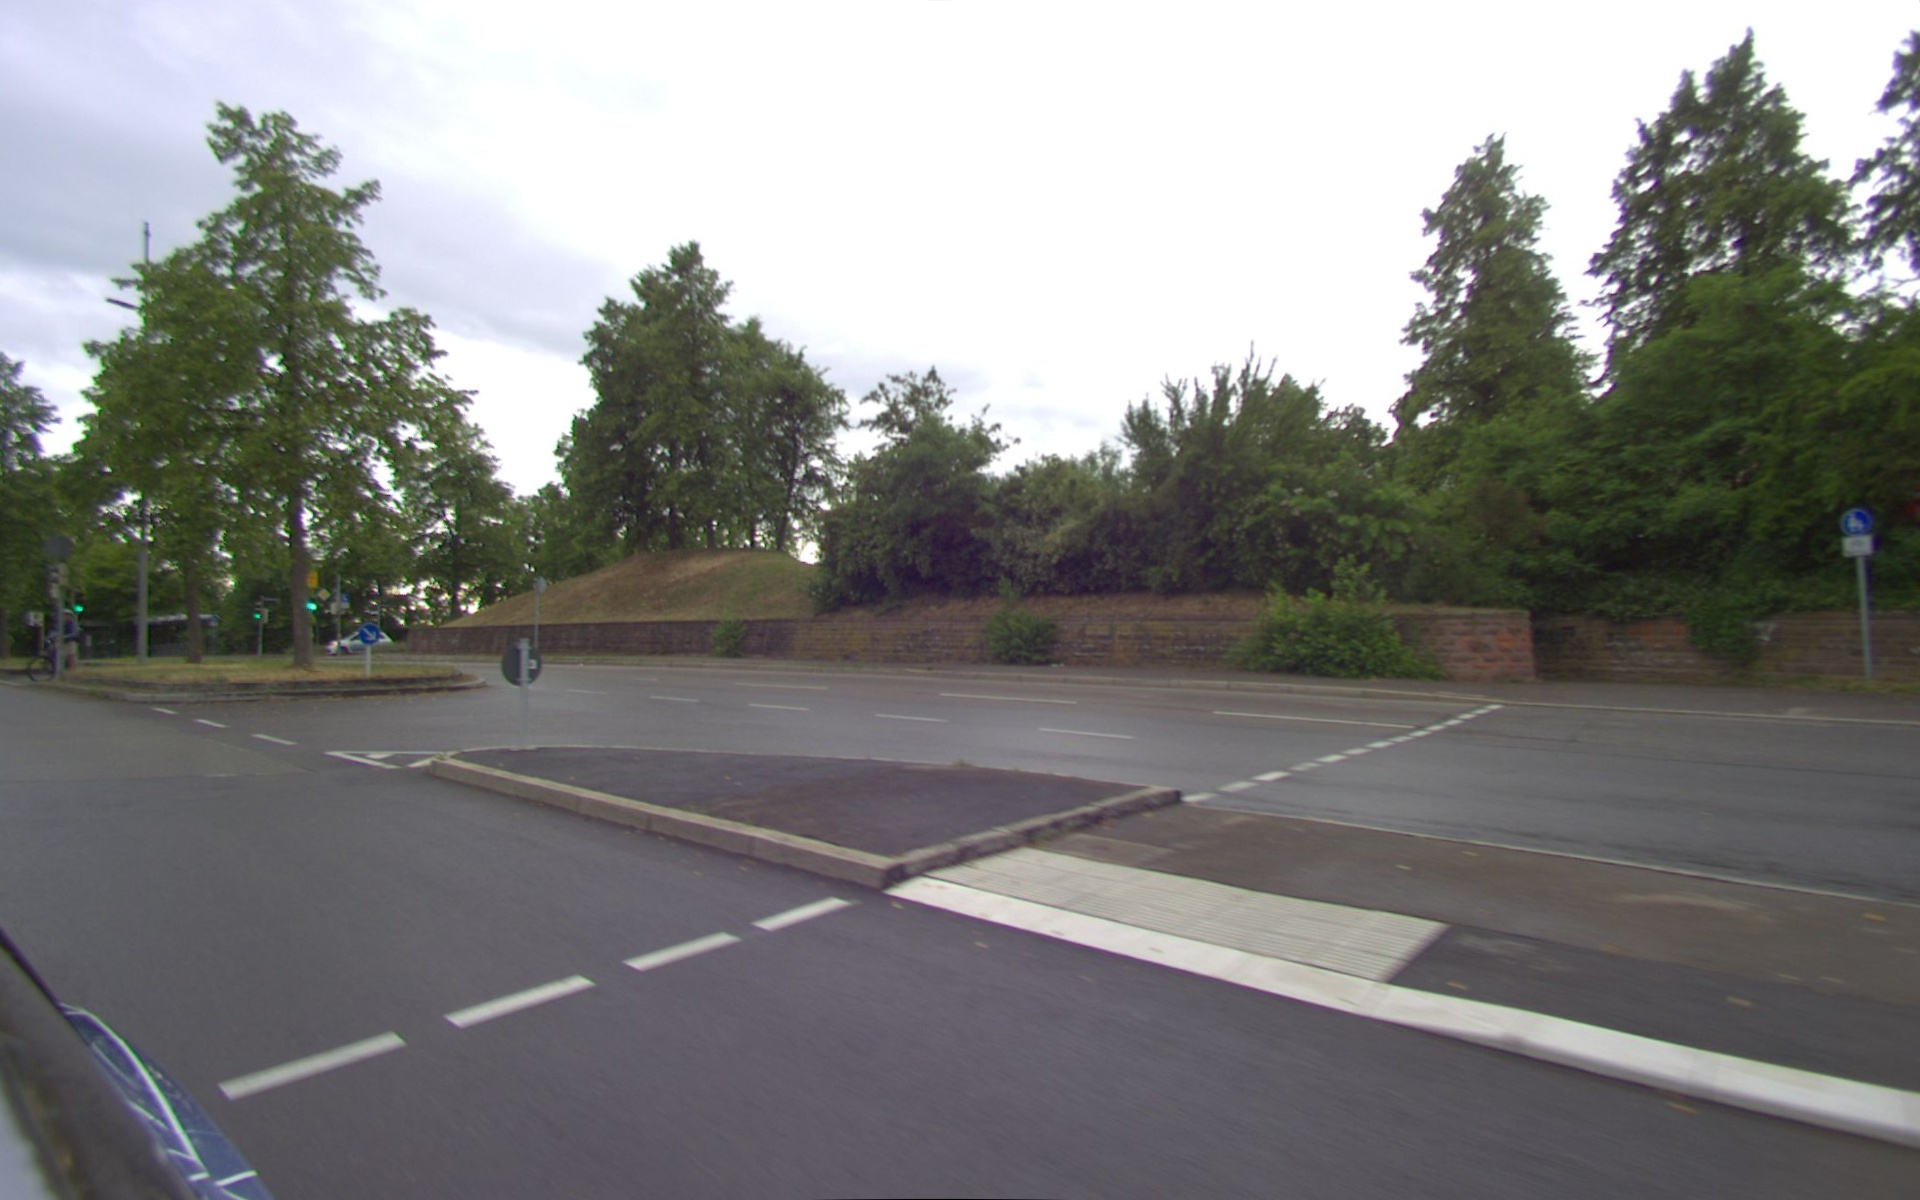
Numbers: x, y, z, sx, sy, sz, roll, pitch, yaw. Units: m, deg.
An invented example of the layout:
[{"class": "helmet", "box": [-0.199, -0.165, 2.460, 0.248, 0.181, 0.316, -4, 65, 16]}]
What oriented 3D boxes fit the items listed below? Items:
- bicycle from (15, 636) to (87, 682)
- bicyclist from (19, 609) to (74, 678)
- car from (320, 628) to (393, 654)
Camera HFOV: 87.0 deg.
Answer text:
[{"class": "bicycle", "box": [-24.049, 1.535, 26.828, 0.544, 1.151, 2.146, 0, -2, -17]}, {"class": "bicyclist", "box": [-23.933, 1.125, 26.527, 0.713, 1.765, 0.804, 3, -2, -16]}, {"class": "car", "box": [-37.364, 2.530, 62.689, 3.640, 1.489, 1.764, 1, -2, -40]}]
